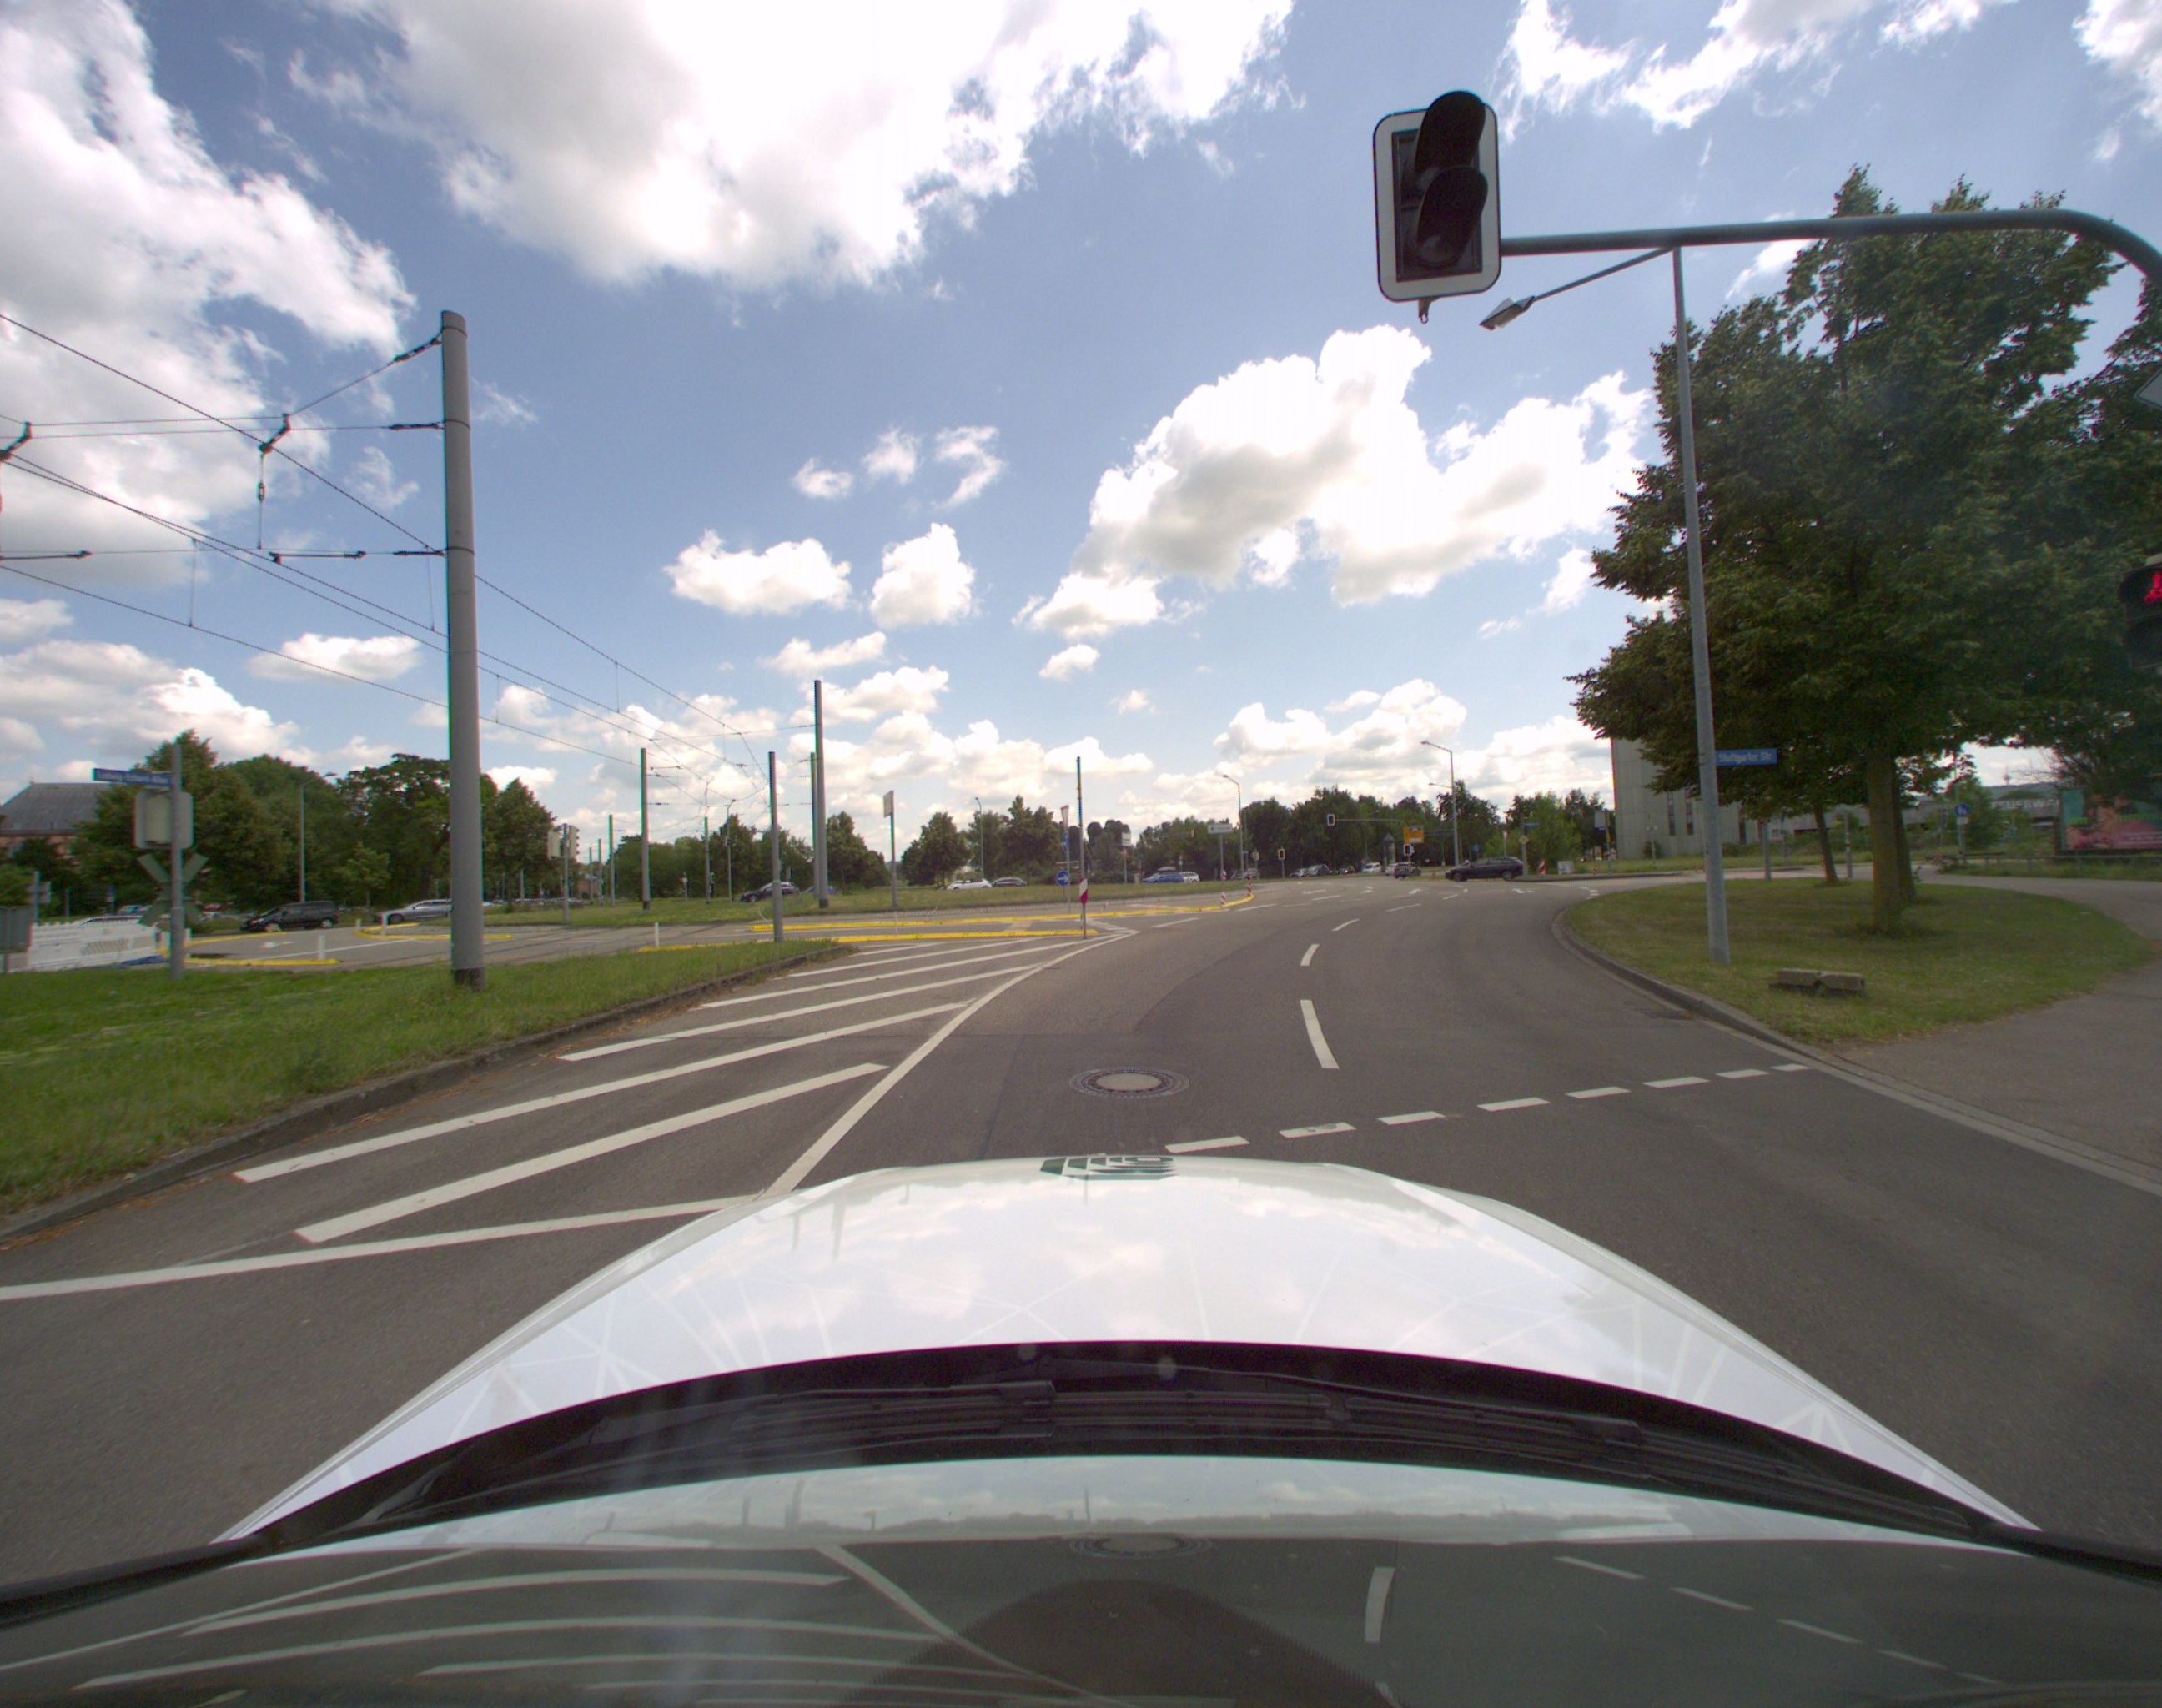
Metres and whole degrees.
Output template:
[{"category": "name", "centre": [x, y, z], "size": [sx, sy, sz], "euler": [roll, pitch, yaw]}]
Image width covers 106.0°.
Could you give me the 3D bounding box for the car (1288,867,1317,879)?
[{"category": "car", "centre": [28.146, 2.410, 103.329], "size": [1.887, 1.423, 4.217], "euler": [-4, -2, 39]}]

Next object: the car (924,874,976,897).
[{"category": "car", "centre": [-13.040, 3.117, 80.981], "size": [4.736, 2.014, 1.982], "euler": [-2, -1, -27]}]

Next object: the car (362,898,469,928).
[{"category": "car", "centre": [-43.209, 3.787, 52.993], "size": [2.040, 1.626, 4.975], "euler": [-1, 0, 32]}]

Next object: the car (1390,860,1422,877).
[{"category": "car", "centre": [34.089, 1.476, 85.435], "size": [1.974, 1.626, 4.337], "euler": [-3, -2, 37]}]

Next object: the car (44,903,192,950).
[{"category": "car", "centre": [-50.460, 3.745, 42.801], "size": [1.974, 2.014, 4.755], "euler": [-3, -1, 31]}]

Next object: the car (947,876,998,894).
[{"category": "car", "centre": [-9.686, 2.754, 72.750], "size": [4.302, 1.329, 1.991], "euler": [-2, -1, -13]}]

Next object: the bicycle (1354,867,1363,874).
[{"category": "bicycle", "centre": [48.043, 2.835, 141.016], "size": [0.753, 1.219, 2.029], "euler": [-1, -1, 41]}]

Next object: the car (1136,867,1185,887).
[{"category": "car", "centre": [7.695, 2.236, 78.788], "size": [4.416, 1.798, 1.741], "euler": [-2, -1, -26]}]

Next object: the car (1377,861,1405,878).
[{"category": "car", "centre": [37.555, 1.896, 98.730], "size": [1.974, 2.014, 4.025], "euler": [-2, -2, 38]}]

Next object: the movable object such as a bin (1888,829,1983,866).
[{"category": "movable object such as a bin", "centre": [91.932, -0.649, 87.696], "size": [7.581, 3.853, 3.043], "euler": [0, -2, -6]}]

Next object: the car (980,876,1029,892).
[{"category": "car", "centre": [-7.330, 2.844, 78.277], "size": [4.481, 1.323, 1.946], "euler": [-2, -1, -13]}]

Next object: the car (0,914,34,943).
[{"category": "car", "centre": [-78.189, 5.410, 58.523], "size": [2.004, 2.014, 3.966], "euler": [-2, -1, -25]}]

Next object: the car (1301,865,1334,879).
[{"category": "car", "centre": [28.855, 2.162, 99.335], "size": [1.889, 1.592, 4.620], "euler": [-4, -3, 43]}]

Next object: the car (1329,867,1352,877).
[{"category": "car", "centre": [38.094, 2.649, 119.523], "size": [1.600, 1.348, 4.196], "euler": [-6, -4, 42]}]

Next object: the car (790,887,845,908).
[{"category": "car", "centre": [-24.968, 4.068, 77.188], "size": [4.738, 1.790, 1.832], "euler": [1, 2, -29]}]

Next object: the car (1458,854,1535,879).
[{"category": "car", "centre": [25.412, 0.780, 49.890], "size": [3.948, 1.463, 1.700], "euler": [-2, -2, 36]}]

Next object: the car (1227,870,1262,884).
[{"category": "car", "centre": [18.622, 2.623, 92.610], "size": [4.000, 1.340, 1.781], "euler": [-2, -3, -40]}]

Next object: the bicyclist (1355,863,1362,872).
[{"category": "bicyclist", "centre": [48.091, 2.276, 141.088], "size": [0.822, 1.565, 0.889], "euler": [-1, -1, 41]}]

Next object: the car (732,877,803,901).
[{"category": "car", "centre": [-25.645, 2.873, 66.676], "size": [5.088, 1.675, 1.980], "euler": [-2, -1, -32]}]

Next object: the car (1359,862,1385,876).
[{"category": "car", "centre": [43.206, 2.258, 120.791], "size": [1.820, 1.799, 4.817], "euler": [-6, -4, 42]}]

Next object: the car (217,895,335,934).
[{"category": "car", "centre": [-48.533, 3.620, 49.265], "size": [1.981, 2.014, 4.738], "euler": [-3, -1, 9]}]

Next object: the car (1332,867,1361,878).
[{"category": "car", "centre": [37.423, 2.643, 114.736], "size": [1.820, 1.311, 4.816], "euler": [-6, -4, 43]}]
